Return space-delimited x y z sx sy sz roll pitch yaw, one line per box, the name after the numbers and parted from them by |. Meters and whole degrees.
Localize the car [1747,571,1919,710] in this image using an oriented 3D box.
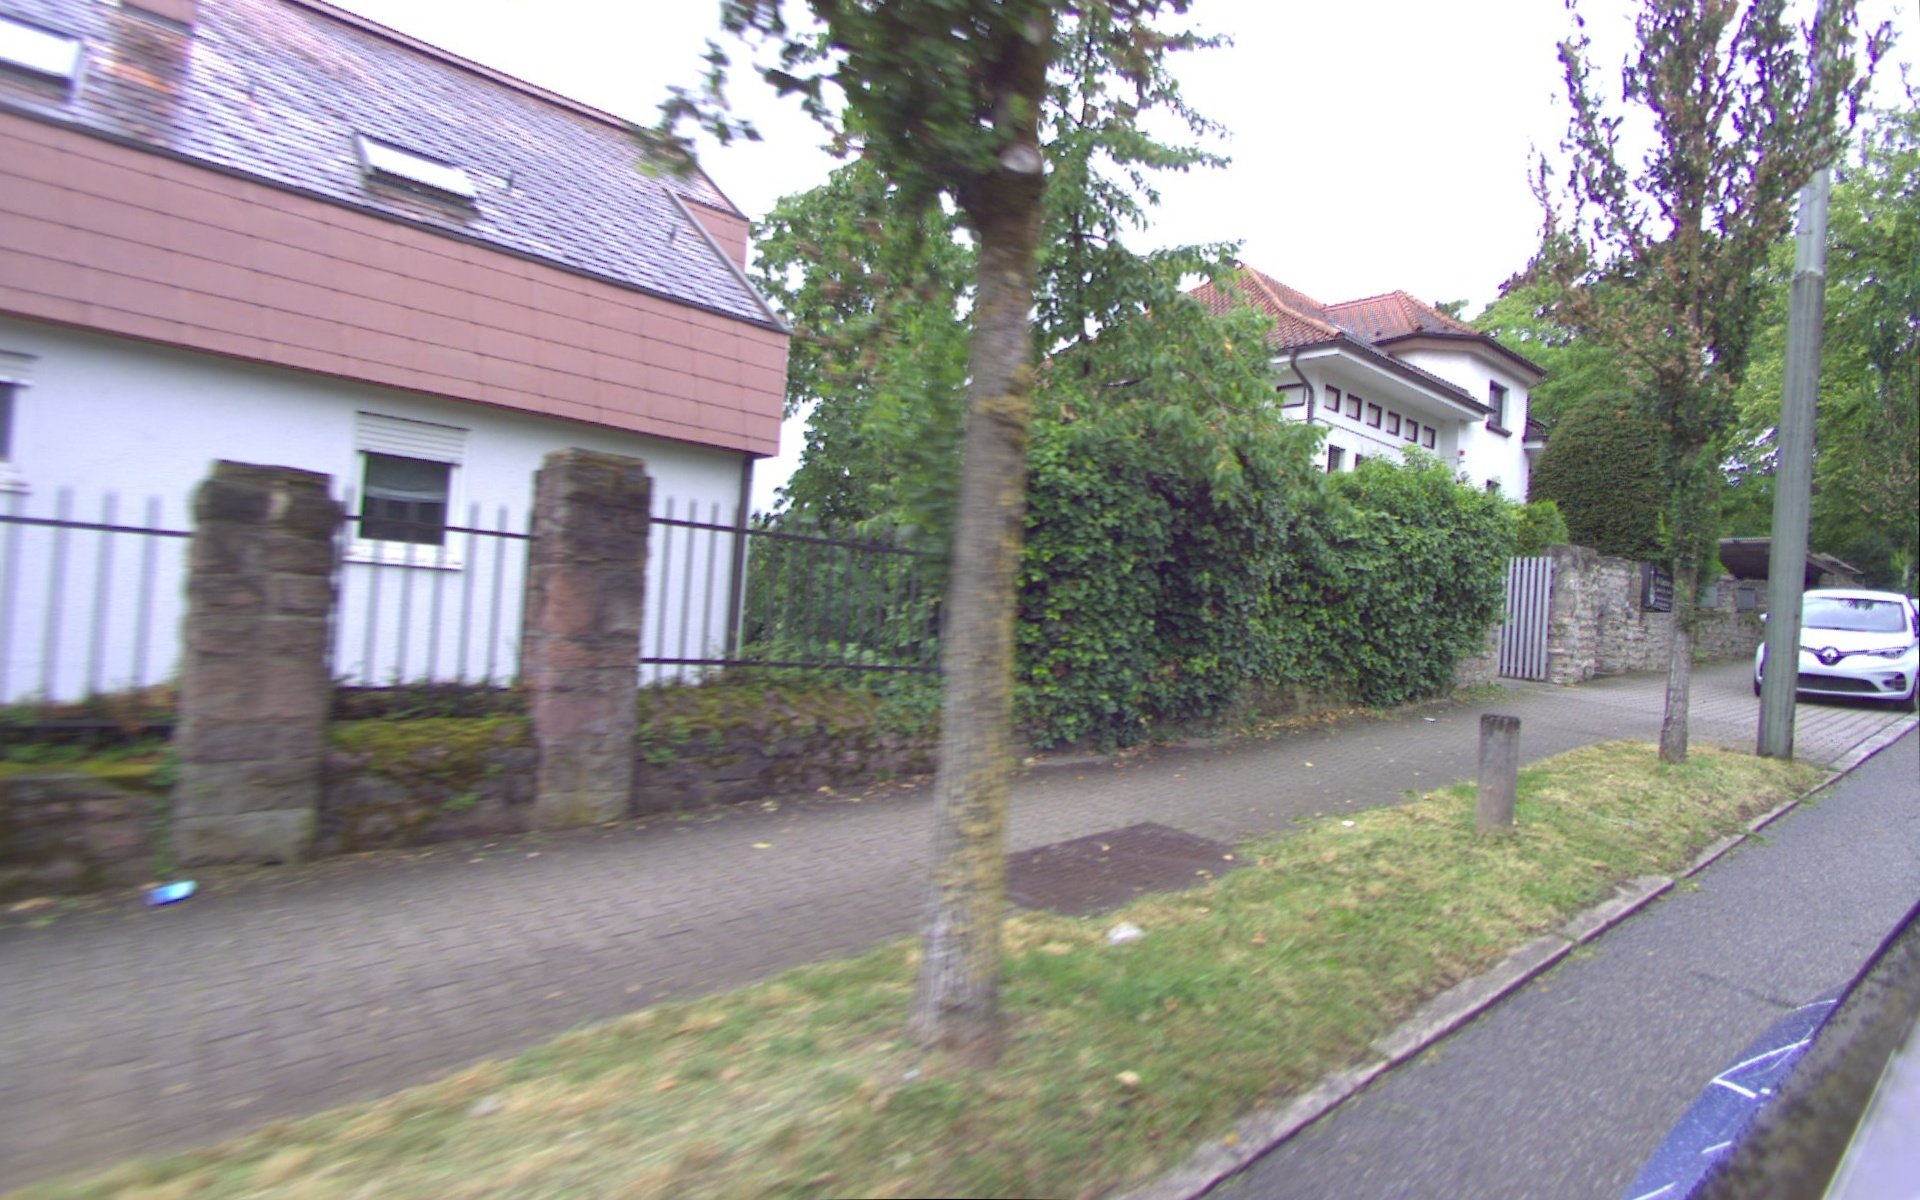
12.893 0.489 14.511 3.932 1.649 1.828 0 4 -43 | car

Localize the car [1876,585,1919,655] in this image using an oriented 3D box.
24.015 0.562 24.659 4.145 1.586 1.923 2 2 -41 | car
